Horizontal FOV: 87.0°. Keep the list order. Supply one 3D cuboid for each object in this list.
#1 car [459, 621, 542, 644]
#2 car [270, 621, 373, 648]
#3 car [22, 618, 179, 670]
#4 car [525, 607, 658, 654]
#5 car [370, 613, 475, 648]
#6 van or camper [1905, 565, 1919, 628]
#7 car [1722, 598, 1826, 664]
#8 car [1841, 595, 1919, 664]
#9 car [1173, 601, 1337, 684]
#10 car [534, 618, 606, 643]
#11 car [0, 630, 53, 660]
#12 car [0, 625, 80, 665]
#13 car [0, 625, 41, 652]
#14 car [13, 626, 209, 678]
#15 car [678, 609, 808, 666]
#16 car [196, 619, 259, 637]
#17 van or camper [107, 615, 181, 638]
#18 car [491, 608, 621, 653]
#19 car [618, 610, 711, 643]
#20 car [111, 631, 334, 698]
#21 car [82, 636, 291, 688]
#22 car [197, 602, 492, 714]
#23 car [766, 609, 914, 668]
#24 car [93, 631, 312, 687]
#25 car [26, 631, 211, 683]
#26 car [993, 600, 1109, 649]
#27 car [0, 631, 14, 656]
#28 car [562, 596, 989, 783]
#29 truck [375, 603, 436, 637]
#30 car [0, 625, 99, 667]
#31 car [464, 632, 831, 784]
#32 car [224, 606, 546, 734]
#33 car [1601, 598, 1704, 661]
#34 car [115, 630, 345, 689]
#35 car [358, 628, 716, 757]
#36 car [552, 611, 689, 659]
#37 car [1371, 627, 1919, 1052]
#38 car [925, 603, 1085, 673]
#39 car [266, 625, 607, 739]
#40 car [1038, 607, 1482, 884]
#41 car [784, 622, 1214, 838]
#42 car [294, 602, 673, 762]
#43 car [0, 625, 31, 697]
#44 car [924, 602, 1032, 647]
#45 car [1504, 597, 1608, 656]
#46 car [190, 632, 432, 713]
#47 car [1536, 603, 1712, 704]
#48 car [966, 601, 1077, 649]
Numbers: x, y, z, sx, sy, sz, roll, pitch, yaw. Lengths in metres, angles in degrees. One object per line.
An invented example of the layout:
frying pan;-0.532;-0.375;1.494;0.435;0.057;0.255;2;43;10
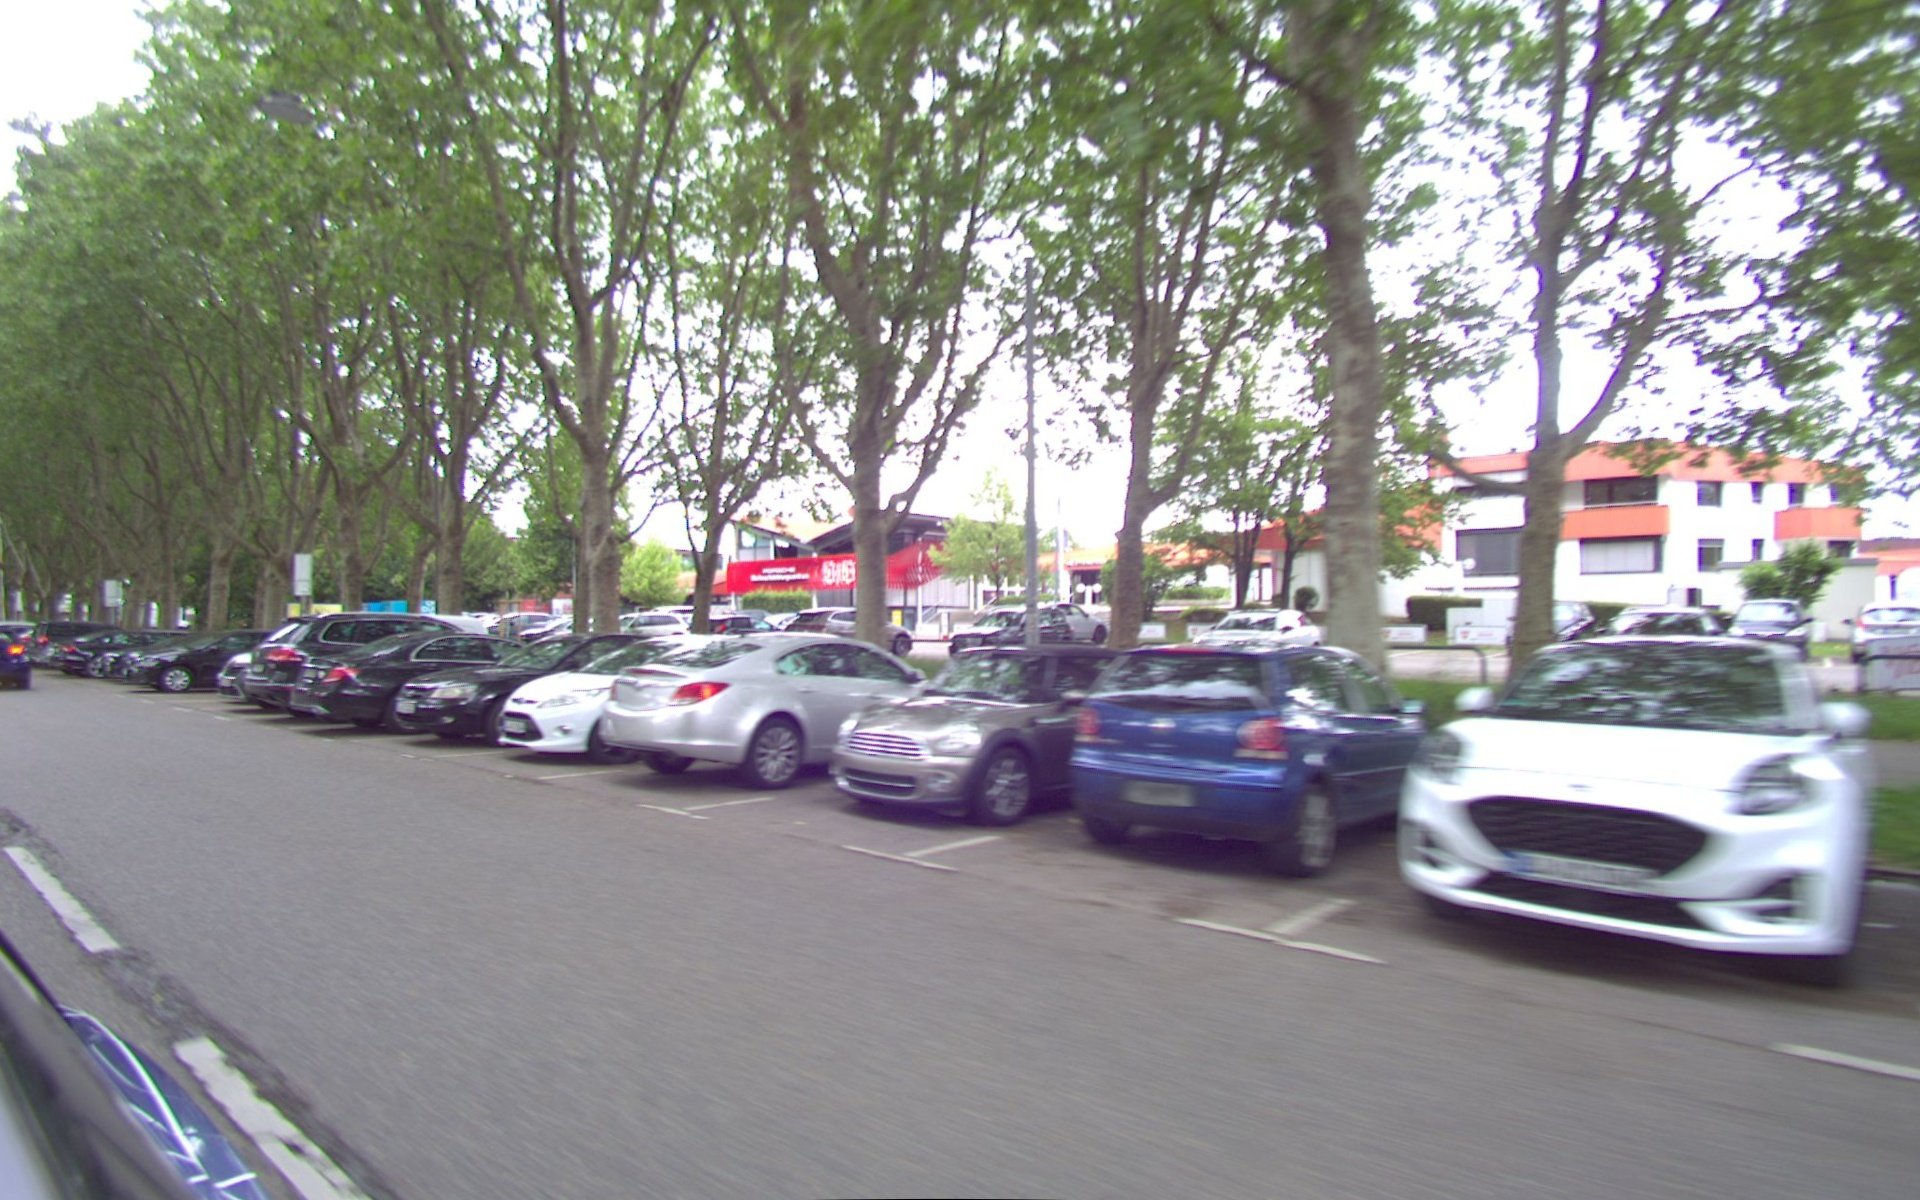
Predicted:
car;-32.613;2.281;71.924;2.181;1.532;4.892;-1;0;39
car;-41.420;2.198;65.744;2.093;1.608;5.295;-1;0;39
car;-30.084;1.556;35.509;1.750;1.721;3.891;-2;-3;39
car;-15.592;1.255;43.035;2.180;1.810;4.894;-1;0;38
car;-28.661;1.661;54.066;1.997;1.734;4.508;-1;-3;38
van or camper;33.590;-0.144;31.969;5.298;2.029;1.973;-1;0;40
car;21.336;0.758;26.534;1.957;1.560;4.277;-1;0;39
car;22.919;0.679;24.833;1.788;1.560;4.176;-1;0;39
car;6.902;0.898;23.442;2.130;1.722;4.277;-1;0;39
car;-25.671;1.972;66.741;1.996;1.562;3.983;-1;0;36
car;-48.847;2.310;51.427;1.855;1.464;3.945;-1;0;41
car;-43.382;2.066;46.752;1.855;1.695;3.945;-1;0;41
car;-52.831;2.079;54.651;2.043;1.455;4.368;-2;-3;35
car;-26.404;1.607;31.609;1.701;1.493;4.419;-2;-3;39
car;-7.787;1.306;36.591;2.026;1.875;4.277;-1;0;39
car;-84.559;3.268;116.930;2.390;2.036;5.399;-1;-3;38
van or camper;-79.594;2.567;98.787;2.241;2.115;5.234;-1;0;38
car;-17.678;1.286;44.492;2.180;1.810;4.894;-1;0;38
car;-17.142;1.499;58.950;2.180;1.810;4.894;-1;0;38
car;-17.141;1.491;23.648;1.756;1.432;3.934;-2;-4;44
car;-22.030;1.765;28.975;1.858;1.377;4.419;-2;-4;39
car;-11.248;1.053;18.777;1.864;1.824;4.277;-2;-3;37
car;-3.846;1.200;33.108;2.294;1.738;4.506;-1;0;39
car;-20.225;1.557;27.167;1.901;1.358;4.415;-2;-3;42
car;-24.520;1.636;29.601;1.701;1.409;3.891;-2;-3;39
car;3.735;0.951;40.968;4.525;1.869;2.298;0;0;-45
car;-56.839;2.451;57.430;1.774;1.435;4.364;-2;-3;39
car;-1.726;0.873;10.717;1.906;1.560;4.222;-1;-4;38
truck;-46.761;1.652;85.331;2.374;2.737;3.947;-1;0;39
car;-39.726;1.951;43.512;1.855;1.695;3.945;-1;0;41
car;-3.680;1.166;12.457;1.884;1.415;3.947;-1;0;39
car;-9.485;1.038;16.968;2.035;1.808;4.273;-1;0;41
car;18.991;0.755;27.680;1.957;1.560;4.277;-1;0;39
car;-18.502;1.482;25.810;1.878;1.380;4.417;-2;-3;40
car;-5.657;1.134;13.957;1.965;1.364;4.149;-1;0;38
car;-13.671;1.380;40.985;2.180;1.810;4.894;-2;-2;38
car;4.060;0.902;5.683;1.912;1.395;3.949;-1;0;44
car;1.353;0.994;28.497;2.294;1.775;4.473;-1;0;39
car;-7.739;1.196;15.248;2.013;1.463;4.084;-2;-5;42
car;2.502;0.835;7.760;1.831;1.505;3.953;-1;0;40
car;0.544;0.950;9.153;1.861;1.416;3.946;-1;0;40
car;-6.315;1.040;13.818;1.866;1.824;4.272;-2;-4;40
car;-22.587;1.354;22.863;4.011;1.521;1.824;-1;-1;39
car;0.846;1.055;45.262;4.525;1.869;2.298;0;0;-45
car;17.282;0.710;29.257;1.957;1.560;4.277;-1;0;39
car;-13.134;1.425;20.709;1.758;1.483;3.756;-1;-3;30
car;12.083;0.862;18.300;2.202;1.560;4.277;-1;0;39
car;2.688;1.024;43.257;4.525;1.869;2.298;0;0;-45
